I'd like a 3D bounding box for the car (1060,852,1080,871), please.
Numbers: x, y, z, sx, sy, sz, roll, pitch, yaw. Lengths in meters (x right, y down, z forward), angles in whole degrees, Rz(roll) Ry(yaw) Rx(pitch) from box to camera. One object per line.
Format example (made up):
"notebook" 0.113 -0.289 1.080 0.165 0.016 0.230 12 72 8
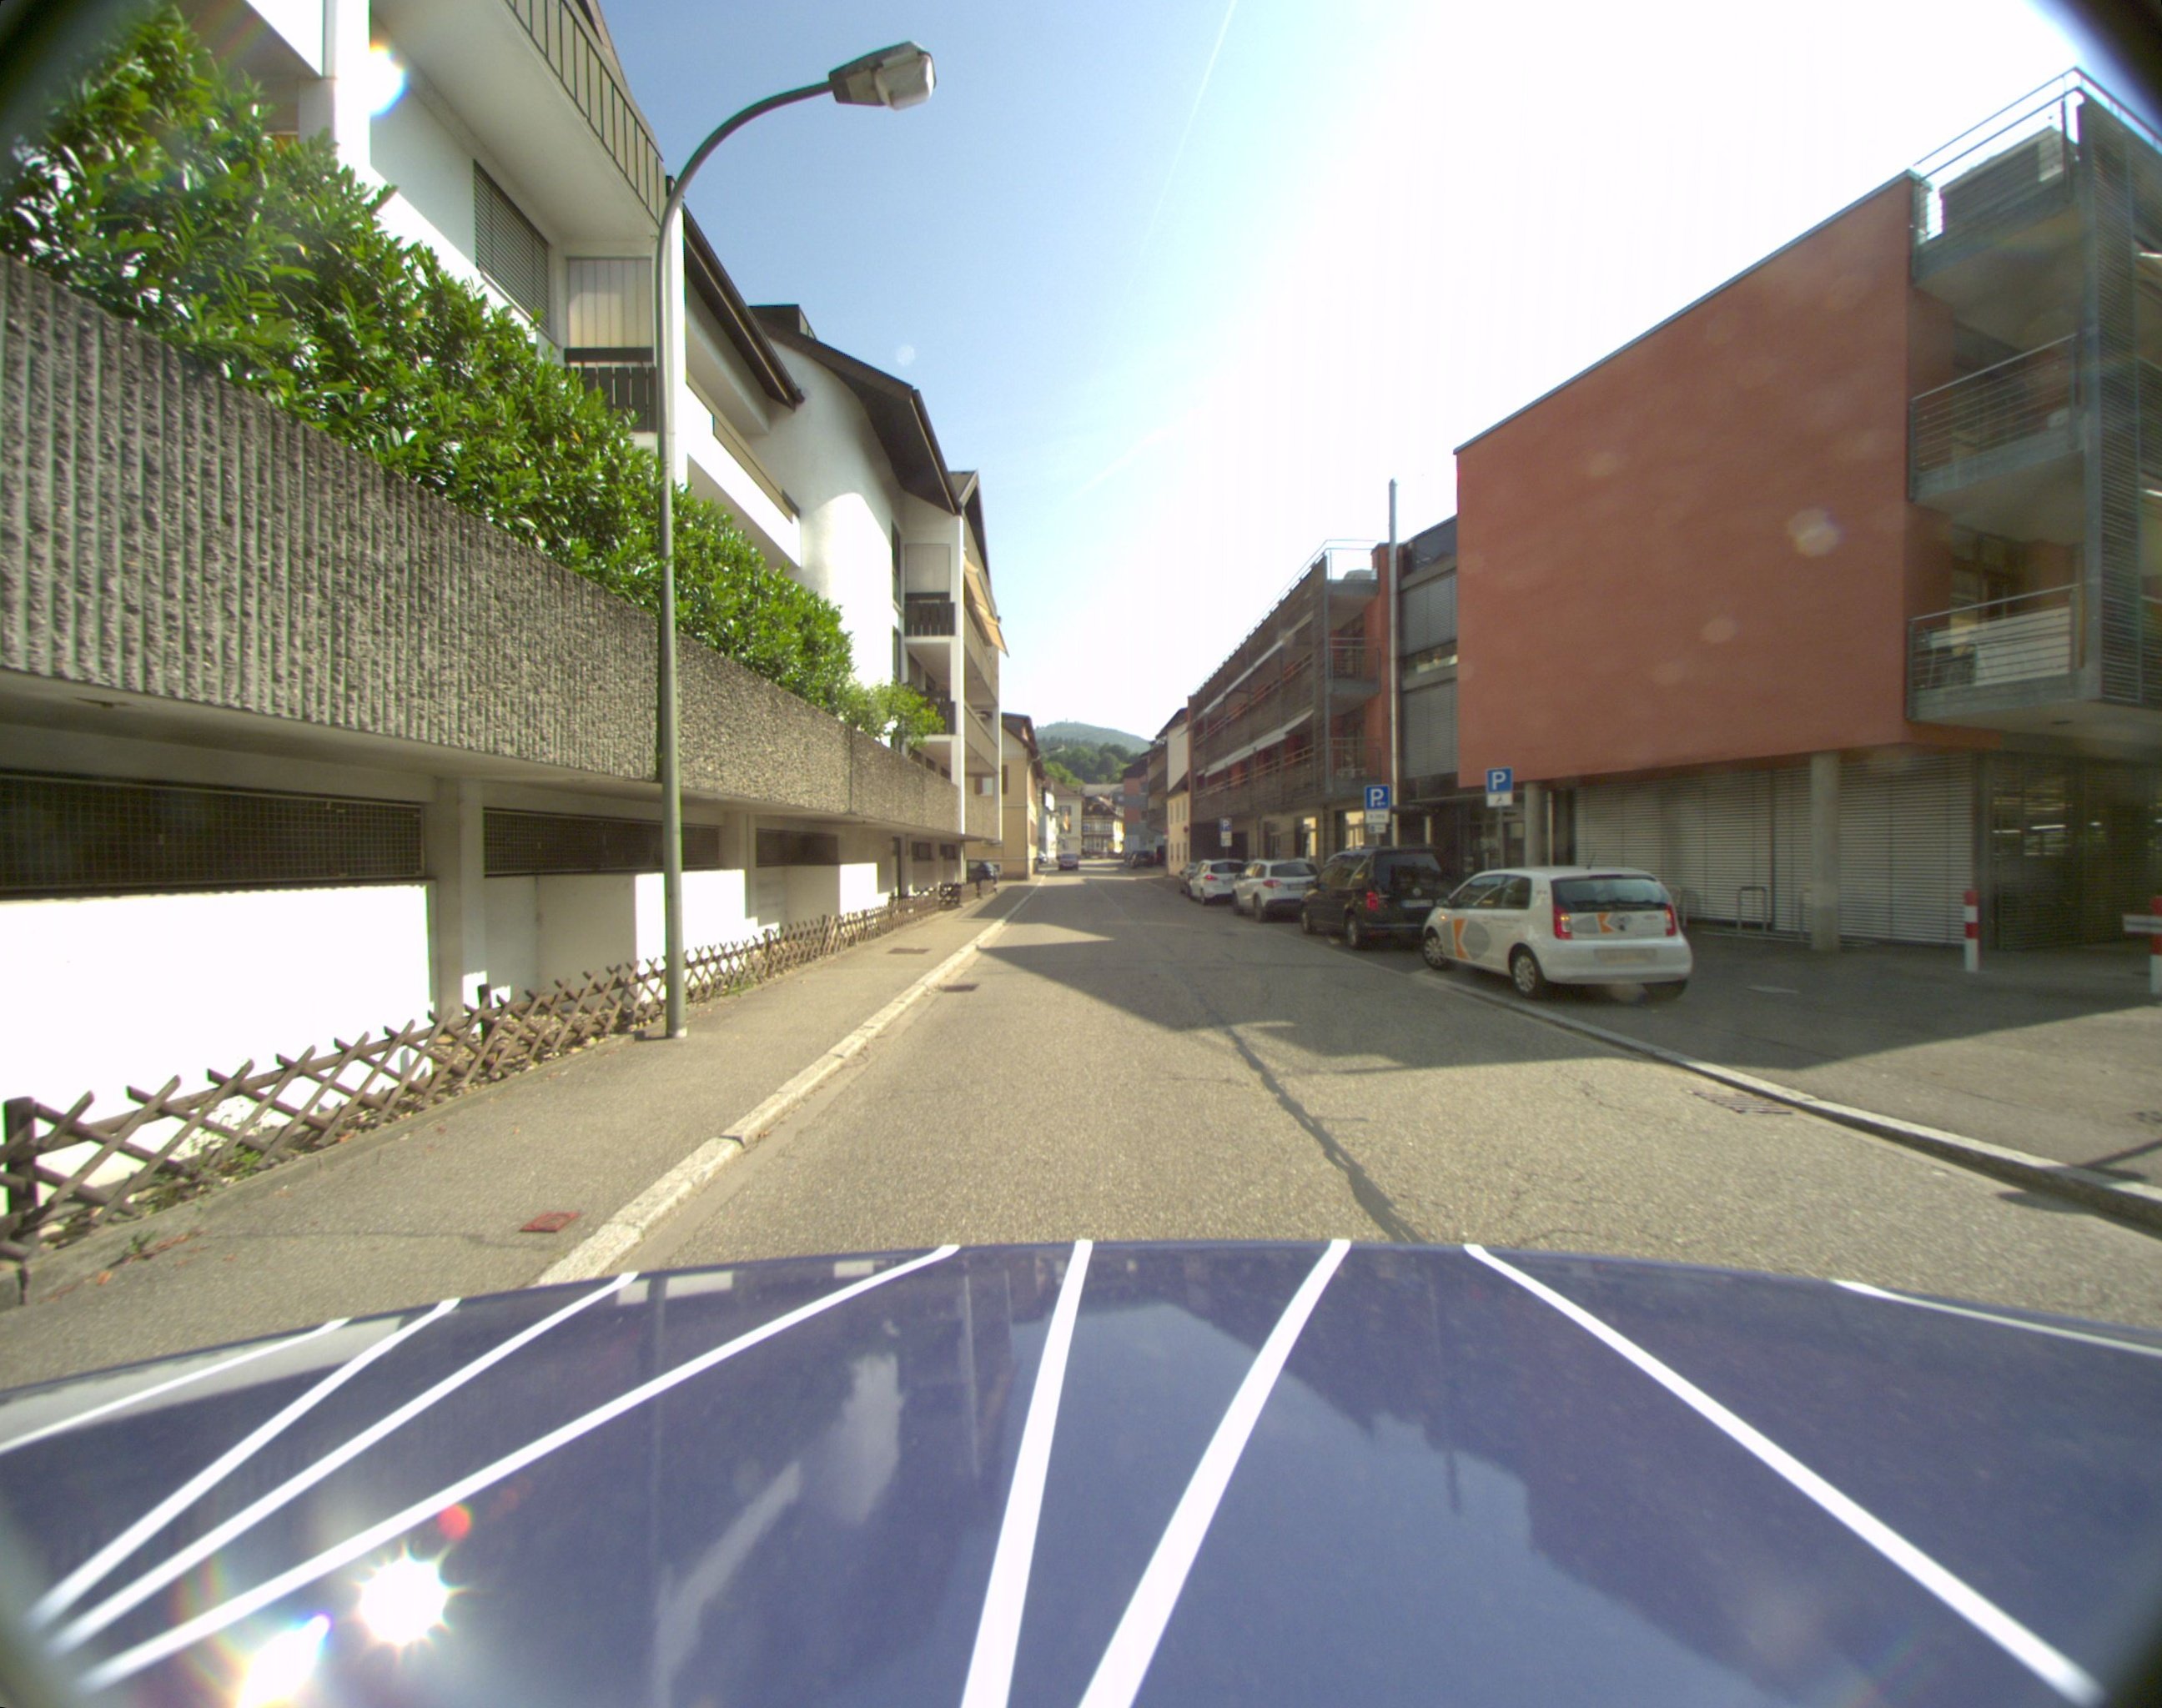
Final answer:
"car" -1.024 0.675 68.944 1.822 1.652 3.999 0 0 -2

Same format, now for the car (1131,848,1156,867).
"car" 5.619 0.282 68.731 1.787 1.566 3.888 -3 0 -1

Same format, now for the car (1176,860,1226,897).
"car" 5.091 1.000 32.486 1.553 1.408 3.593 -2 1 0

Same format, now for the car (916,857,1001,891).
"car" -5.889 0.952 36.895 3.837 1.470 1.700 -2 0 -2

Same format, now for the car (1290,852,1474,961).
"car" 5.569 0.868 14.685 1.725 1.785 4.268 0 0 -2

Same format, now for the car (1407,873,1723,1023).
"car" 5.671 0.994 9.484 1.670 1.423 3.569 -2 -1 1

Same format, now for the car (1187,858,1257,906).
"car" 4.951 0.950 27.143 1.678 1.546 3.764 -1 0 -1

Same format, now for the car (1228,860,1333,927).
"car" 5.249 0.984 20.502 1.679 1.580 3.949 -1 0 -1

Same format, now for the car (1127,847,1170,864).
"car" 6.833 0.185 77.182 4.000 1.673 1.834 0 -1 -9
